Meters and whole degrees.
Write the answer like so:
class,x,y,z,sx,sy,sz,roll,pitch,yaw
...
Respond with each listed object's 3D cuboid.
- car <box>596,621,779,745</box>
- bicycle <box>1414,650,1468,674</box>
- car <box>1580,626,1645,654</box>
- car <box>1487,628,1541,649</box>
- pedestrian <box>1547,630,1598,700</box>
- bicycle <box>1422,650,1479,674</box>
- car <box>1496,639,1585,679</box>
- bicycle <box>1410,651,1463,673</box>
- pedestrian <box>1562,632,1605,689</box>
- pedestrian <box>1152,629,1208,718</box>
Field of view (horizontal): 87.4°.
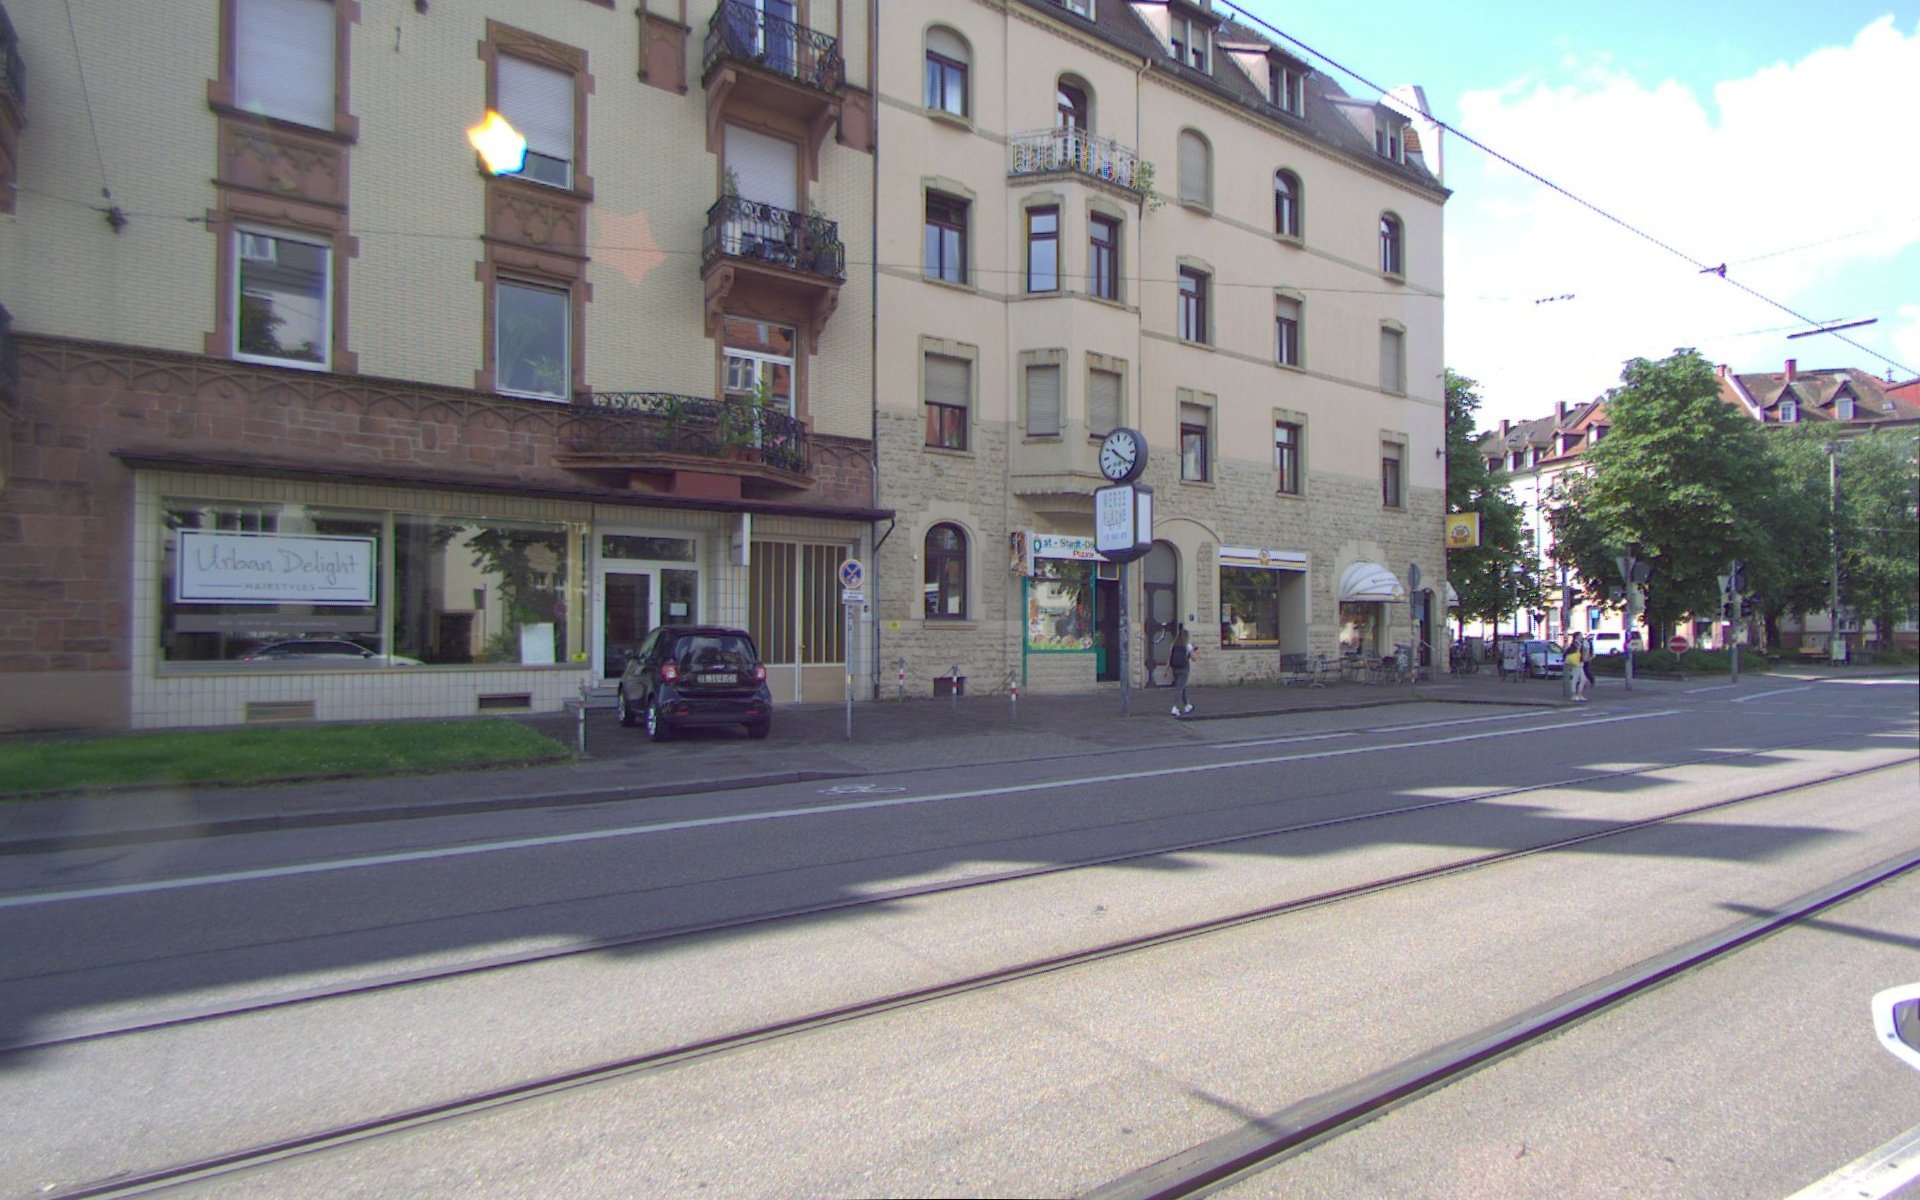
class,x,y,z,sx,sy,sz,roll,pitch,yaw
car,-4.127,1.121,14.876,1.687,1.506,3.425,1,0,-32
bicycle,20.188,2.599,42.169,1.990,0.894,0.512,1,-2,13
car,47.948,2.896,73.869,1.823,2.015,3.942,0,-2,-10
car,46.080,3.211,83.645,1.882,1.685,3.934,0,-2,-11
pedestrian,15.673,1.646,25.696,0.865,1.727,0.751,1,2,-34
bicycle,19.942,2.526,40.841,1.990,0.894,0.523,1,-2,13
car,22.147,2.226,38.489,1.686,1.439,3.876,0,-2,10
bicycle,20.558,2.666,43.351,1.990,0.894,0.512,1,-2,13
pedestrian,19.143,1.839,30.844,0.813,1.694,0.850,1,-2,-32
pedestrian,4.166,1.360,18.993,0.684,1.562,0.961,4,2,33
